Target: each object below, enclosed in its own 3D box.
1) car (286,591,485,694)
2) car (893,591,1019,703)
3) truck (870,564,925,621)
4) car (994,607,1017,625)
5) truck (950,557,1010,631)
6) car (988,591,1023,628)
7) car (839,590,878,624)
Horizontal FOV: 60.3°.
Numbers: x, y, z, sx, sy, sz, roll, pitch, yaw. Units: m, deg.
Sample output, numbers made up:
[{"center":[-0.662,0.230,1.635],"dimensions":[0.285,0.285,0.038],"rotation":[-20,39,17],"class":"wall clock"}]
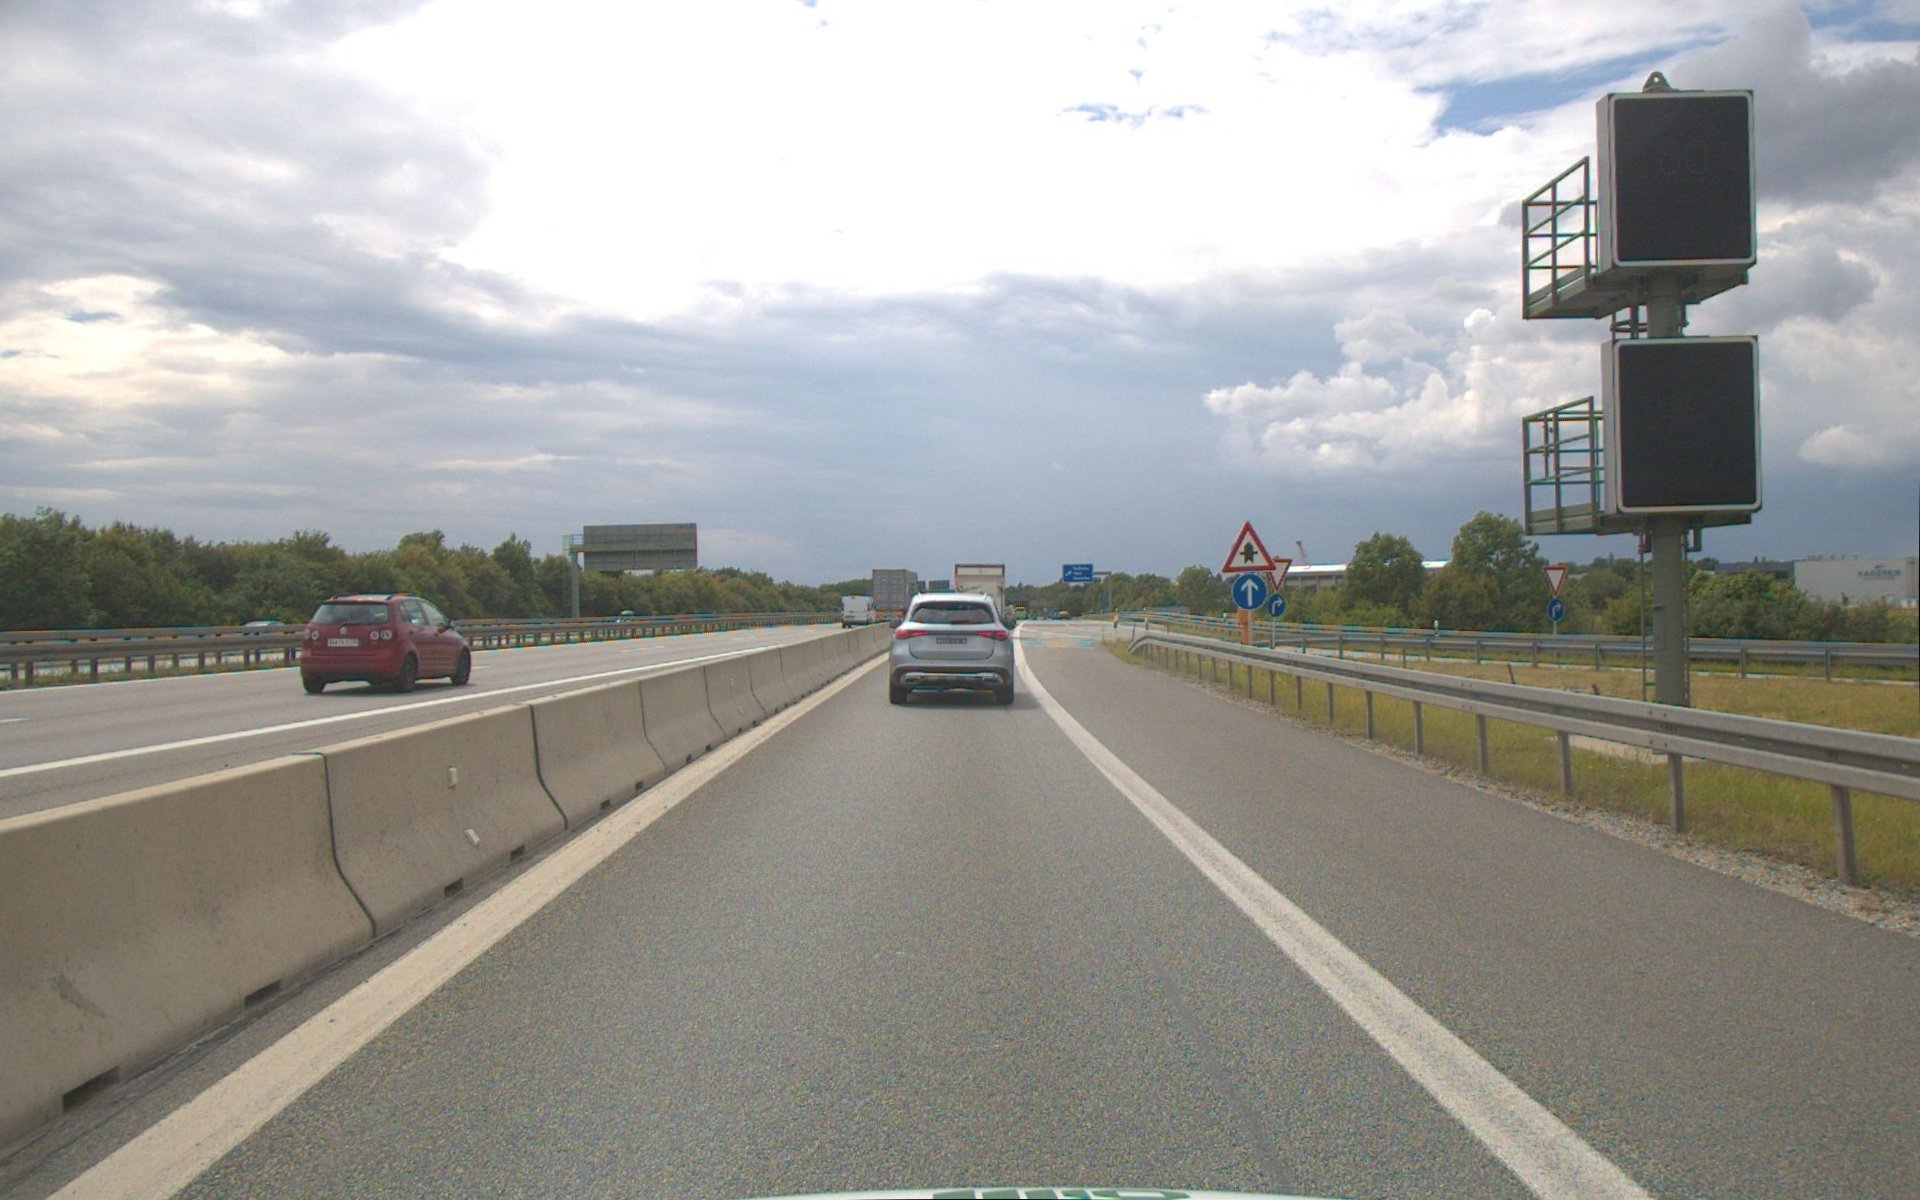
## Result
[{"center":[-9.702,0.661,28.306],"dimensions":[1.782,1.573,4.356],"rotation":[0,1,1],"class":"car"},{"center":[-0.024,0.654,25.490],"dimensions":[1.782,1.541,4.001],"rotation":[0,1,1],"class":"car"},{"center":[-4.642,-0.676,126.986],"dimensions":[3.117,4.089,16.080],"rotation":[0,1,2],"class":"truck"},{"center":[3.496,1.219,126.055],"dimensions":[1.660,1.310,4.002],"rotation":[0,0,3],"class":"car"},{"center":[0.941,-0.242,75.397],"dimensions":[2.516,3.180,8.635],"rotation":[0,0,1],"class":"truck"},{"center":[2.679,0.522,96.267],"dimensions":[1.952,2.049,4.002],"rotation":[0,1,3],"class":"car"},{"center":[-6.450,0.432,105.423],"dimensions":[1.952,2.049,4.376],"rotation":[0,1,3],"class":"car"}]
